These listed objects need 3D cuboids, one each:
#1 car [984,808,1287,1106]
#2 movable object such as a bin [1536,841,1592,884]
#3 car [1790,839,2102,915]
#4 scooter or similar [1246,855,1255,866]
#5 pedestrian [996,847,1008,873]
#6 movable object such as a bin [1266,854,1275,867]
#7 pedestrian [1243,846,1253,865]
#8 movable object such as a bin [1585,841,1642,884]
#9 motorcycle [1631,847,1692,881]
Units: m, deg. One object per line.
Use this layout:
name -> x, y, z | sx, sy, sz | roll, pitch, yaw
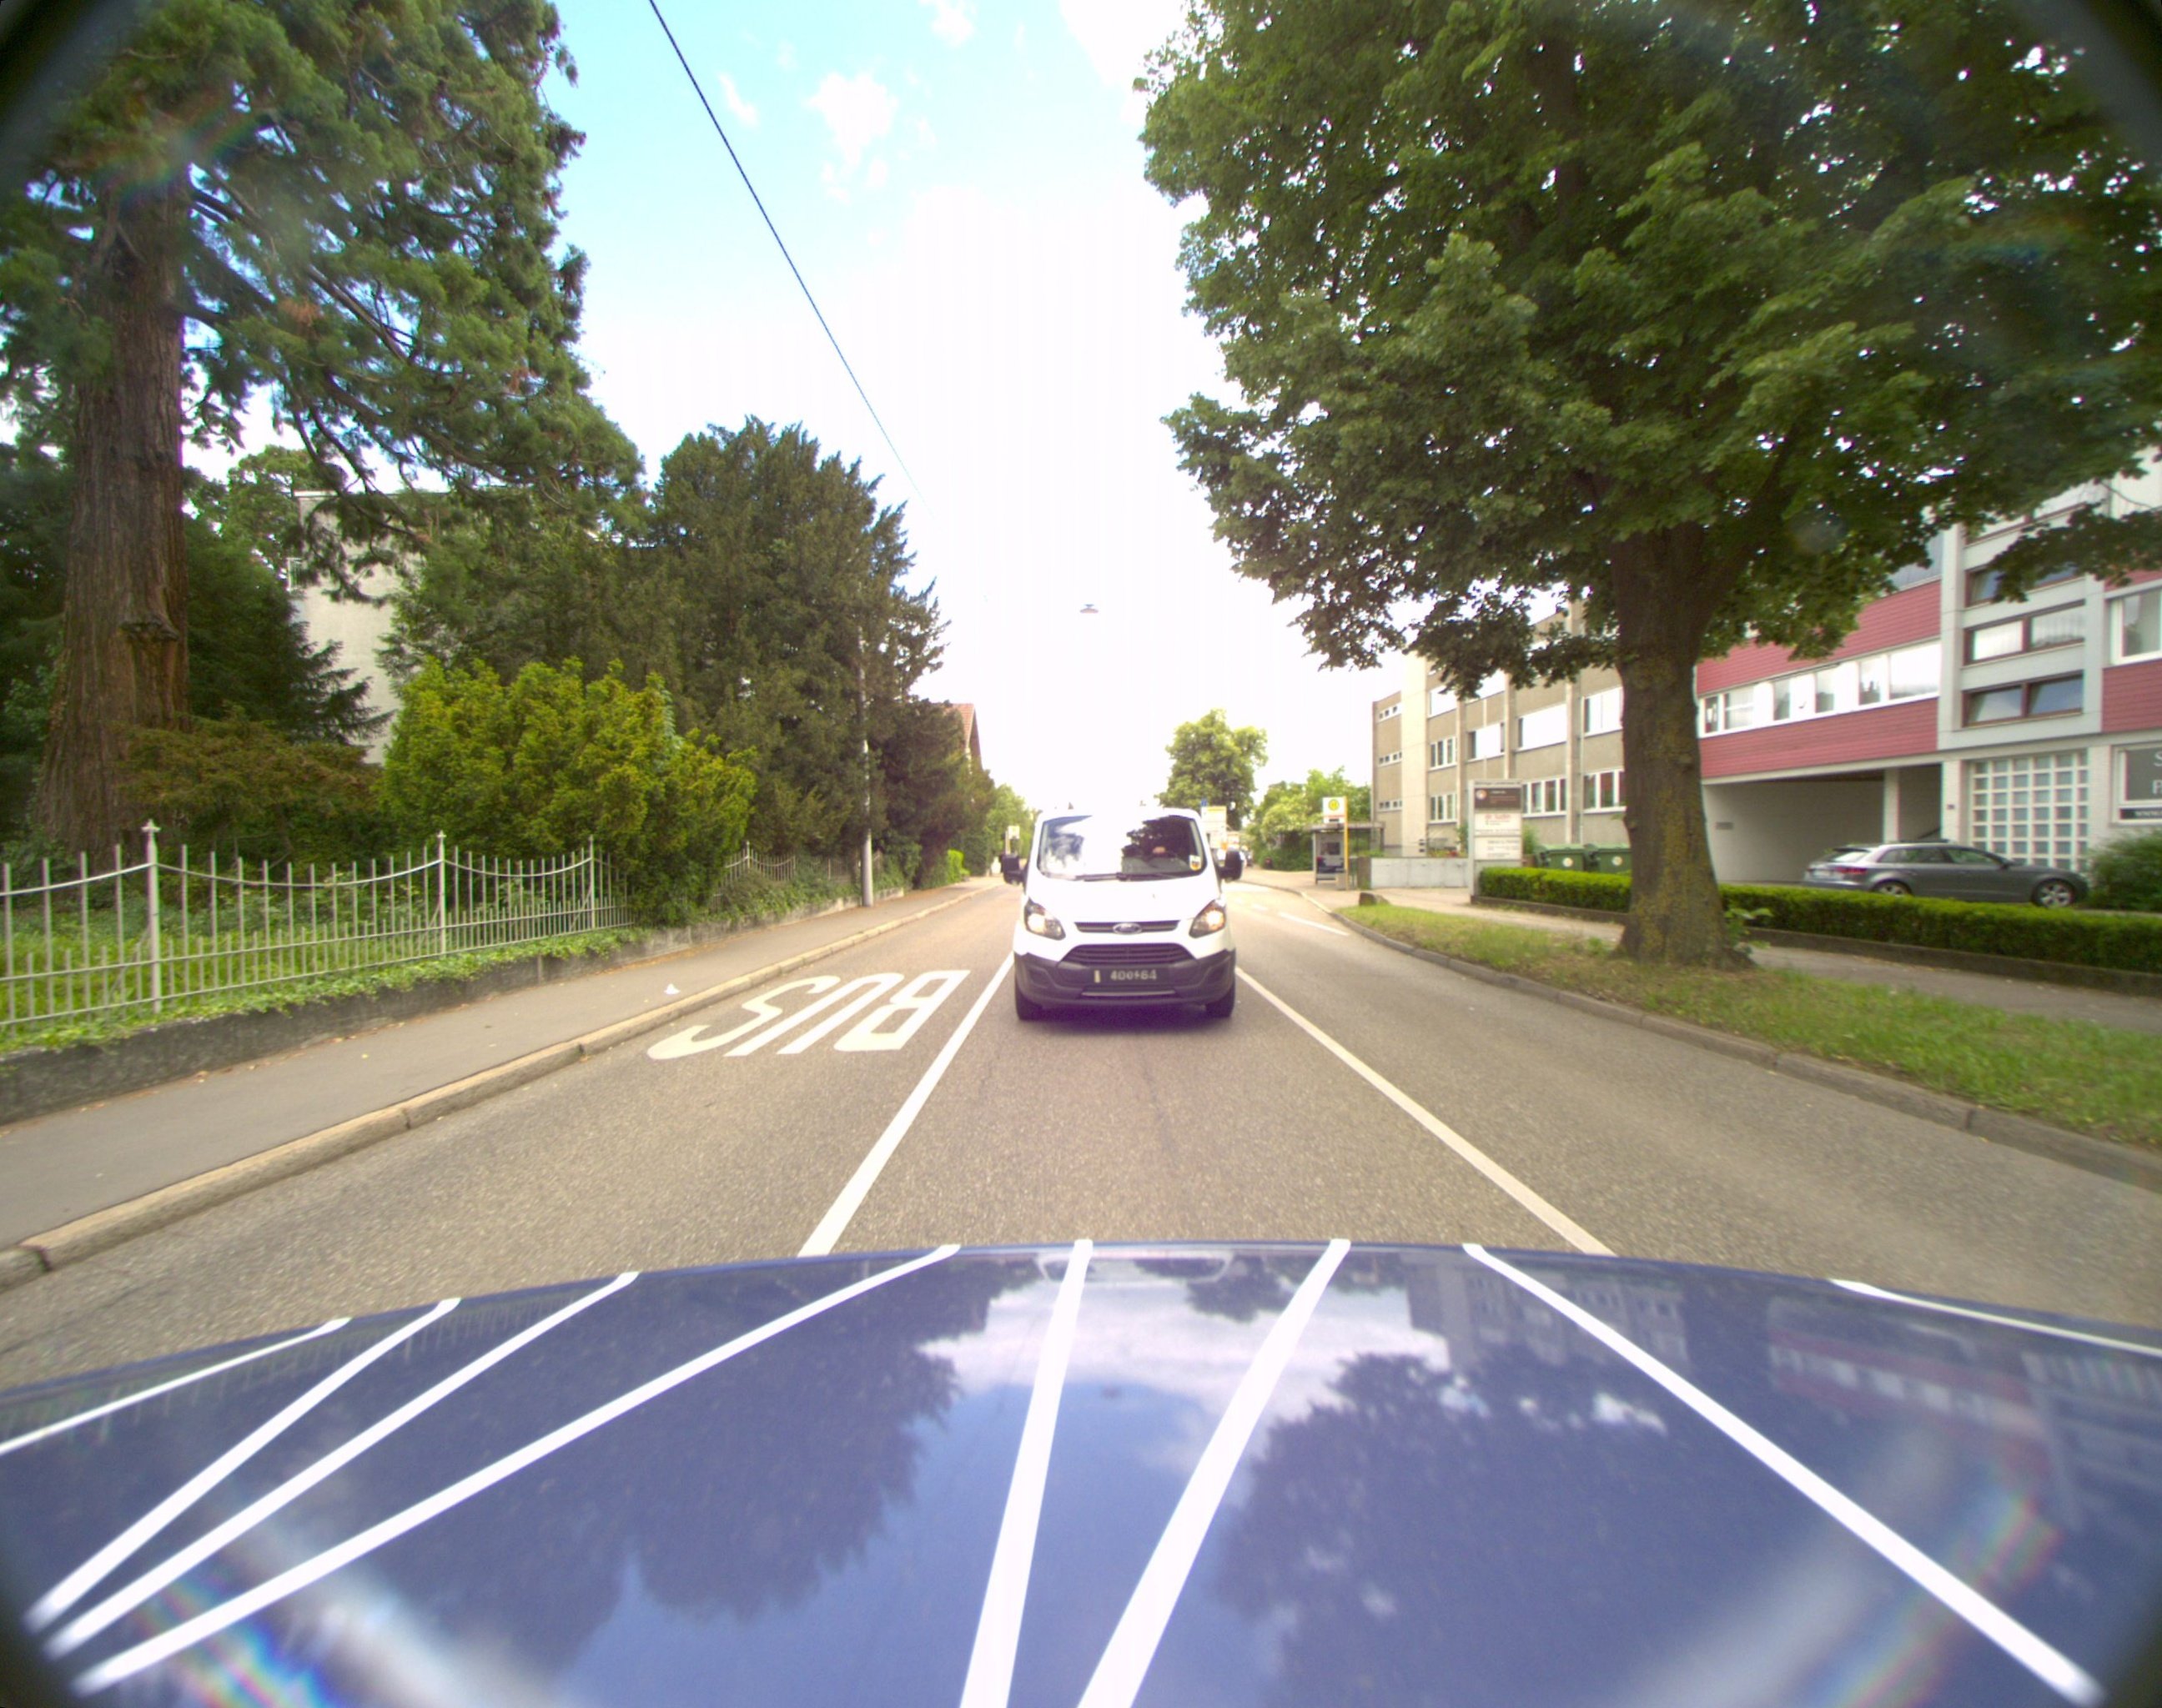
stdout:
car -> 0.345, 0.649, 8.017 | 1.999, 1.961, 5.713 | -2, 1, -1
movable object such as a bin -> 16.974, 0.290, 26.731 | 1.301, 1.457, 0.992 | -2, 2, 1
car -> 18.410, 0.482, 16.426 | 4.143, 1.471, 1.814 | -2, 1, 15
scooter or similar -> 13.435, 0.505, 60.207 | 0.607, 0.782, 0.860 | -2, 1, 17
pedestrian -> -5.512, 0.400, 53.070 | 0.488, 1.757, 0.672 | -1, 2, 32
movable object such as a bin -> 13.733, 0.447, 55.063 | 0.566, 0.922, 0.608 | -1, 2, 16
pedestrian -> 13.441, 0.117, 61.077 | 0.672, 1.549, 0.520 | -1, 2, 18
movable object such as a bin -> 18.679, 0.281, 26.654 | 1.365, 1.457, 0.884 | -2, 2, 1
motorcycle -> 20.400, 0.356, 26.707 | 1.645, 1.133, 0.639 | -2, 2, 1
